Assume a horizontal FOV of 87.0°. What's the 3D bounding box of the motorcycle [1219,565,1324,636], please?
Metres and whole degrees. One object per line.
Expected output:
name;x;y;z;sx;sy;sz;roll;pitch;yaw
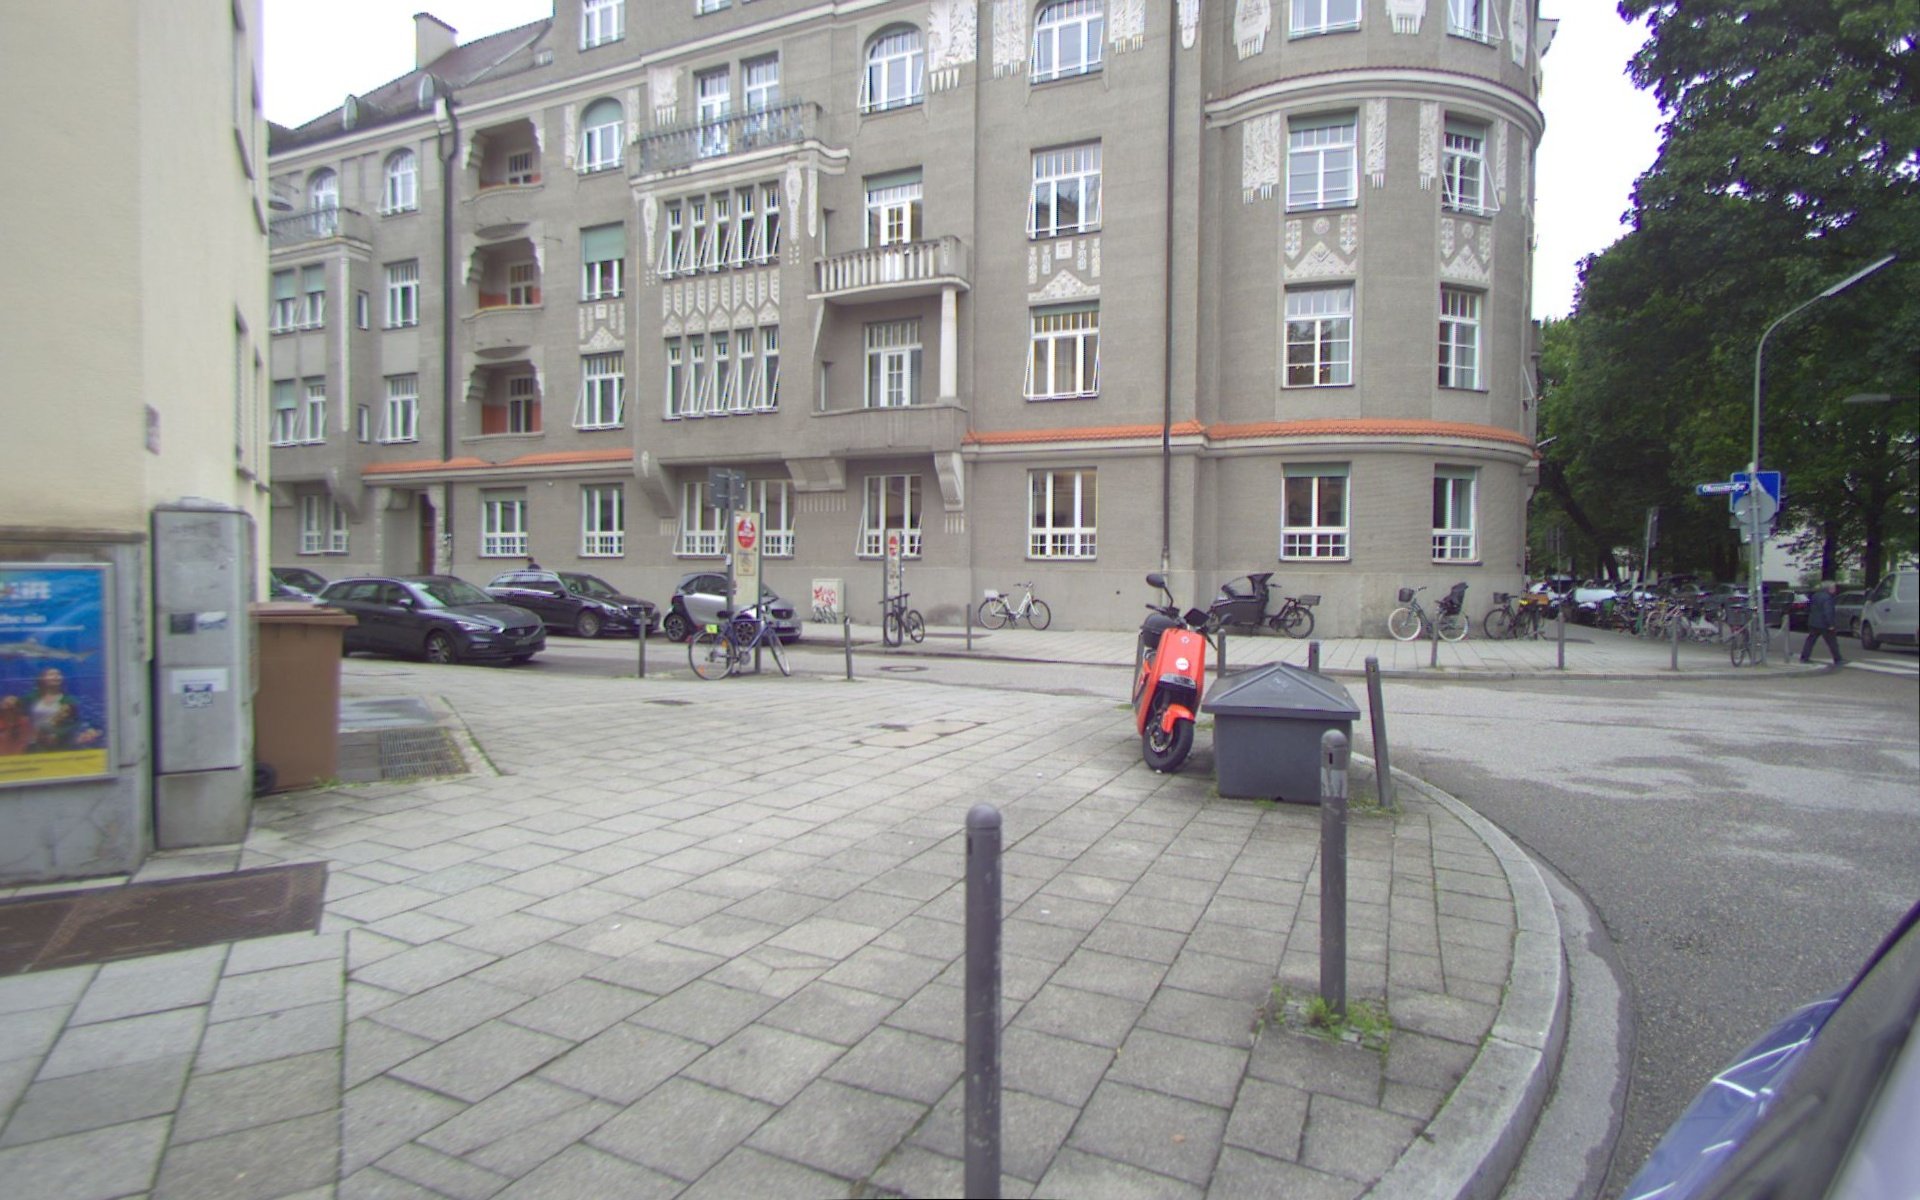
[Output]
motorcycle;6.799;-0.015;22.136;2.123;1.458;0.733;1;2;24

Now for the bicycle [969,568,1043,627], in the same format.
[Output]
bicycle;1.105;-0.074;24.226;1.654;1.366;0.616;1;2;21

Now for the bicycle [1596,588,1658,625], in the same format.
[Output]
bicycle;22.470;0.202;34.122;1.677;1.161;0.504;2;2;40

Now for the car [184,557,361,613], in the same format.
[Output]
car;-19.566;-0.467;28.790;4.725;1.466;1.985;1;2;23

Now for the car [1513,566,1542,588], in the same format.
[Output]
car;54.582;-2.257;97.358;1.978;1.975;4.624;1;2;24

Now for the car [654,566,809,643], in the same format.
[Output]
car;-4.956;0.048;21.977;2.881;1.534;1.695;1;2;26

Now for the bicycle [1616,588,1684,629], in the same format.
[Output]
bicycle;21.044;0.251;30.878;1.677;1.161;0.504;2;2;40

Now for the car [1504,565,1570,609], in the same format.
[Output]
car;27.509;-0.671;48.382;1.976;1.975;4.631;1;2;20

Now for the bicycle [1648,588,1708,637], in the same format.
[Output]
bicycle;17.690;0.287;24.921;1.650;1.161;0.513;-1;2;-29

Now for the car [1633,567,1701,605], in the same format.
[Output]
car;36.638;-0.746;52.555;1.755;1.858;4.487;1;2;20

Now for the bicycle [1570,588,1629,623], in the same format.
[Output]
bicycle;22.351;0.190;35.367;1.677;1.161;0.504;2;2;40

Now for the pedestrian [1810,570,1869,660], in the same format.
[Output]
pedestrian;16.832;0.259;19.392;0.721;1.662;0.803;2;2;35

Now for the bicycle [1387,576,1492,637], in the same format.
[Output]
bicycle;10.244;0.136;21.648;1.887;1.271;0.739;0;2;-6

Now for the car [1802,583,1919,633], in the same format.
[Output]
car;29.353;0.202;32.772;1.755;1.450;4.487;1;2;20

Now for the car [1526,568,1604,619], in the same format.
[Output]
car;25.549;-0.345;42.886;1.976;1.975;4.631;1;2;20

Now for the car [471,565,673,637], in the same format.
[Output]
car;-9.134;-0.026;23.748;4.659;1.534;1.746;1;2;26

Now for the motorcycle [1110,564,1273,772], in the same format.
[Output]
motorcycle;1.695;0.437;7.772;0.802;1.373;2.084;0;1;1

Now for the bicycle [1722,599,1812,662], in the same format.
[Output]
bicycle;14.299;0.517;17.908;1.967;1.022;0.513;-1;2;-29

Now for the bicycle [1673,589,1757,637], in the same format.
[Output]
bicycle;19.747;0.323;26.491;1.701;1.161;0.504;2;2;40

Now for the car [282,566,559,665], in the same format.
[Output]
car;-9.183;0.182;17.209;4.558;1.489;1.686;1;2;23

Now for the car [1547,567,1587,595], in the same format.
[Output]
car;45.890;-1.469;76.600;1.978;1.975;4.624;1;2;24

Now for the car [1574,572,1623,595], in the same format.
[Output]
car;41.699;-1.076;66.163;1.755;1.450;4.487;1;2;20

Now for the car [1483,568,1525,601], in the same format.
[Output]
car;33.744;-1.006;62.863;1.979;1.975;4.623;1;2;24

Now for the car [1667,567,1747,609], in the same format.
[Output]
car;34.842;-0.583;47.335;1.755;1.841;4.487;1;2;20

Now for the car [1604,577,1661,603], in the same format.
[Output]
car;39.108;-0.628;58.951;1.755;1.450;4.487;1;2;20

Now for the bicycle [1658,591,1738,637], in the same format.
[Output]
bicycle;19.815;0.366;27.192;1.677;1.161;0.459;2;2;40

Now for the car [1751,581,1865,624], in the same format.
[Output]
car;31.073;0.032;37.233;1.755;1.450;4.487;1;2;20

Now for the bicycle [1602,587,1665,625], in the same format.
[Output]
bicycle;22.071;0.173;33.181;1.677;1.161;0.504;2;2;40

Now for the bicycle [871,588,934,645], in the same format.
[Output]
bicycle;-1.143;0.308;20.505;0.534;1.027;1.795;1;3;23

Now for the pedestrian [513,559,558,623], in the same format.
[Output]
pedestrian;-12.321;-0.271;29.386;0.927;1.809;0.834;1;2;27

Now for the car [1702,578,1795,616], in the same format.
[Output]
car;32.905;-0.165;42.377;1.755;1.450;4.487;1;2;20

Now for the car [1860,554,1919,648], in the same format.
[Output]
car;22.267;0.029;22.416;2.025;2.067;4.917;1;2;24

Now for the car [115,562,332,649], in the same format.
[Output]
car;-14.054;0.044;19.321;3.811;1.489;1.627;1;2;23

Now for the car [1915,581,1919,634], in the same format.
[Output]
car;26.590;0.252;25.713;1.603;1.466;4.410;1;1;18

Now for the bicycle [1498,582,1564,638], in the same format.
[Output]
bicycle;12.894;0.207;22.823;1.892;1.170;0.565;-1;5;-39

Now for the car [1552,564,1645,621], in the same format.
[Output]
car;23.912;-0.365;38.092;1.976;1.975;4.631;1;2;20

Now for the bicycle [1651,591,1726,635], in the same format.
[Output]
bicycle;20.471;0.348;28.460;1.677;1.161;0.504;2;2;40

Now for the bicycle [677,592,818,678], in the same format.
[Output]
bicycle;-2.868;0.447;13.760;1.765;1.099;0.665;0;-1;-39

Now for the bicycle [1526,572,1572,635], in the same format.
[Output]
bicycle;14.182;0.057;24.355;0.734;1.431;1.901;2;2;36
